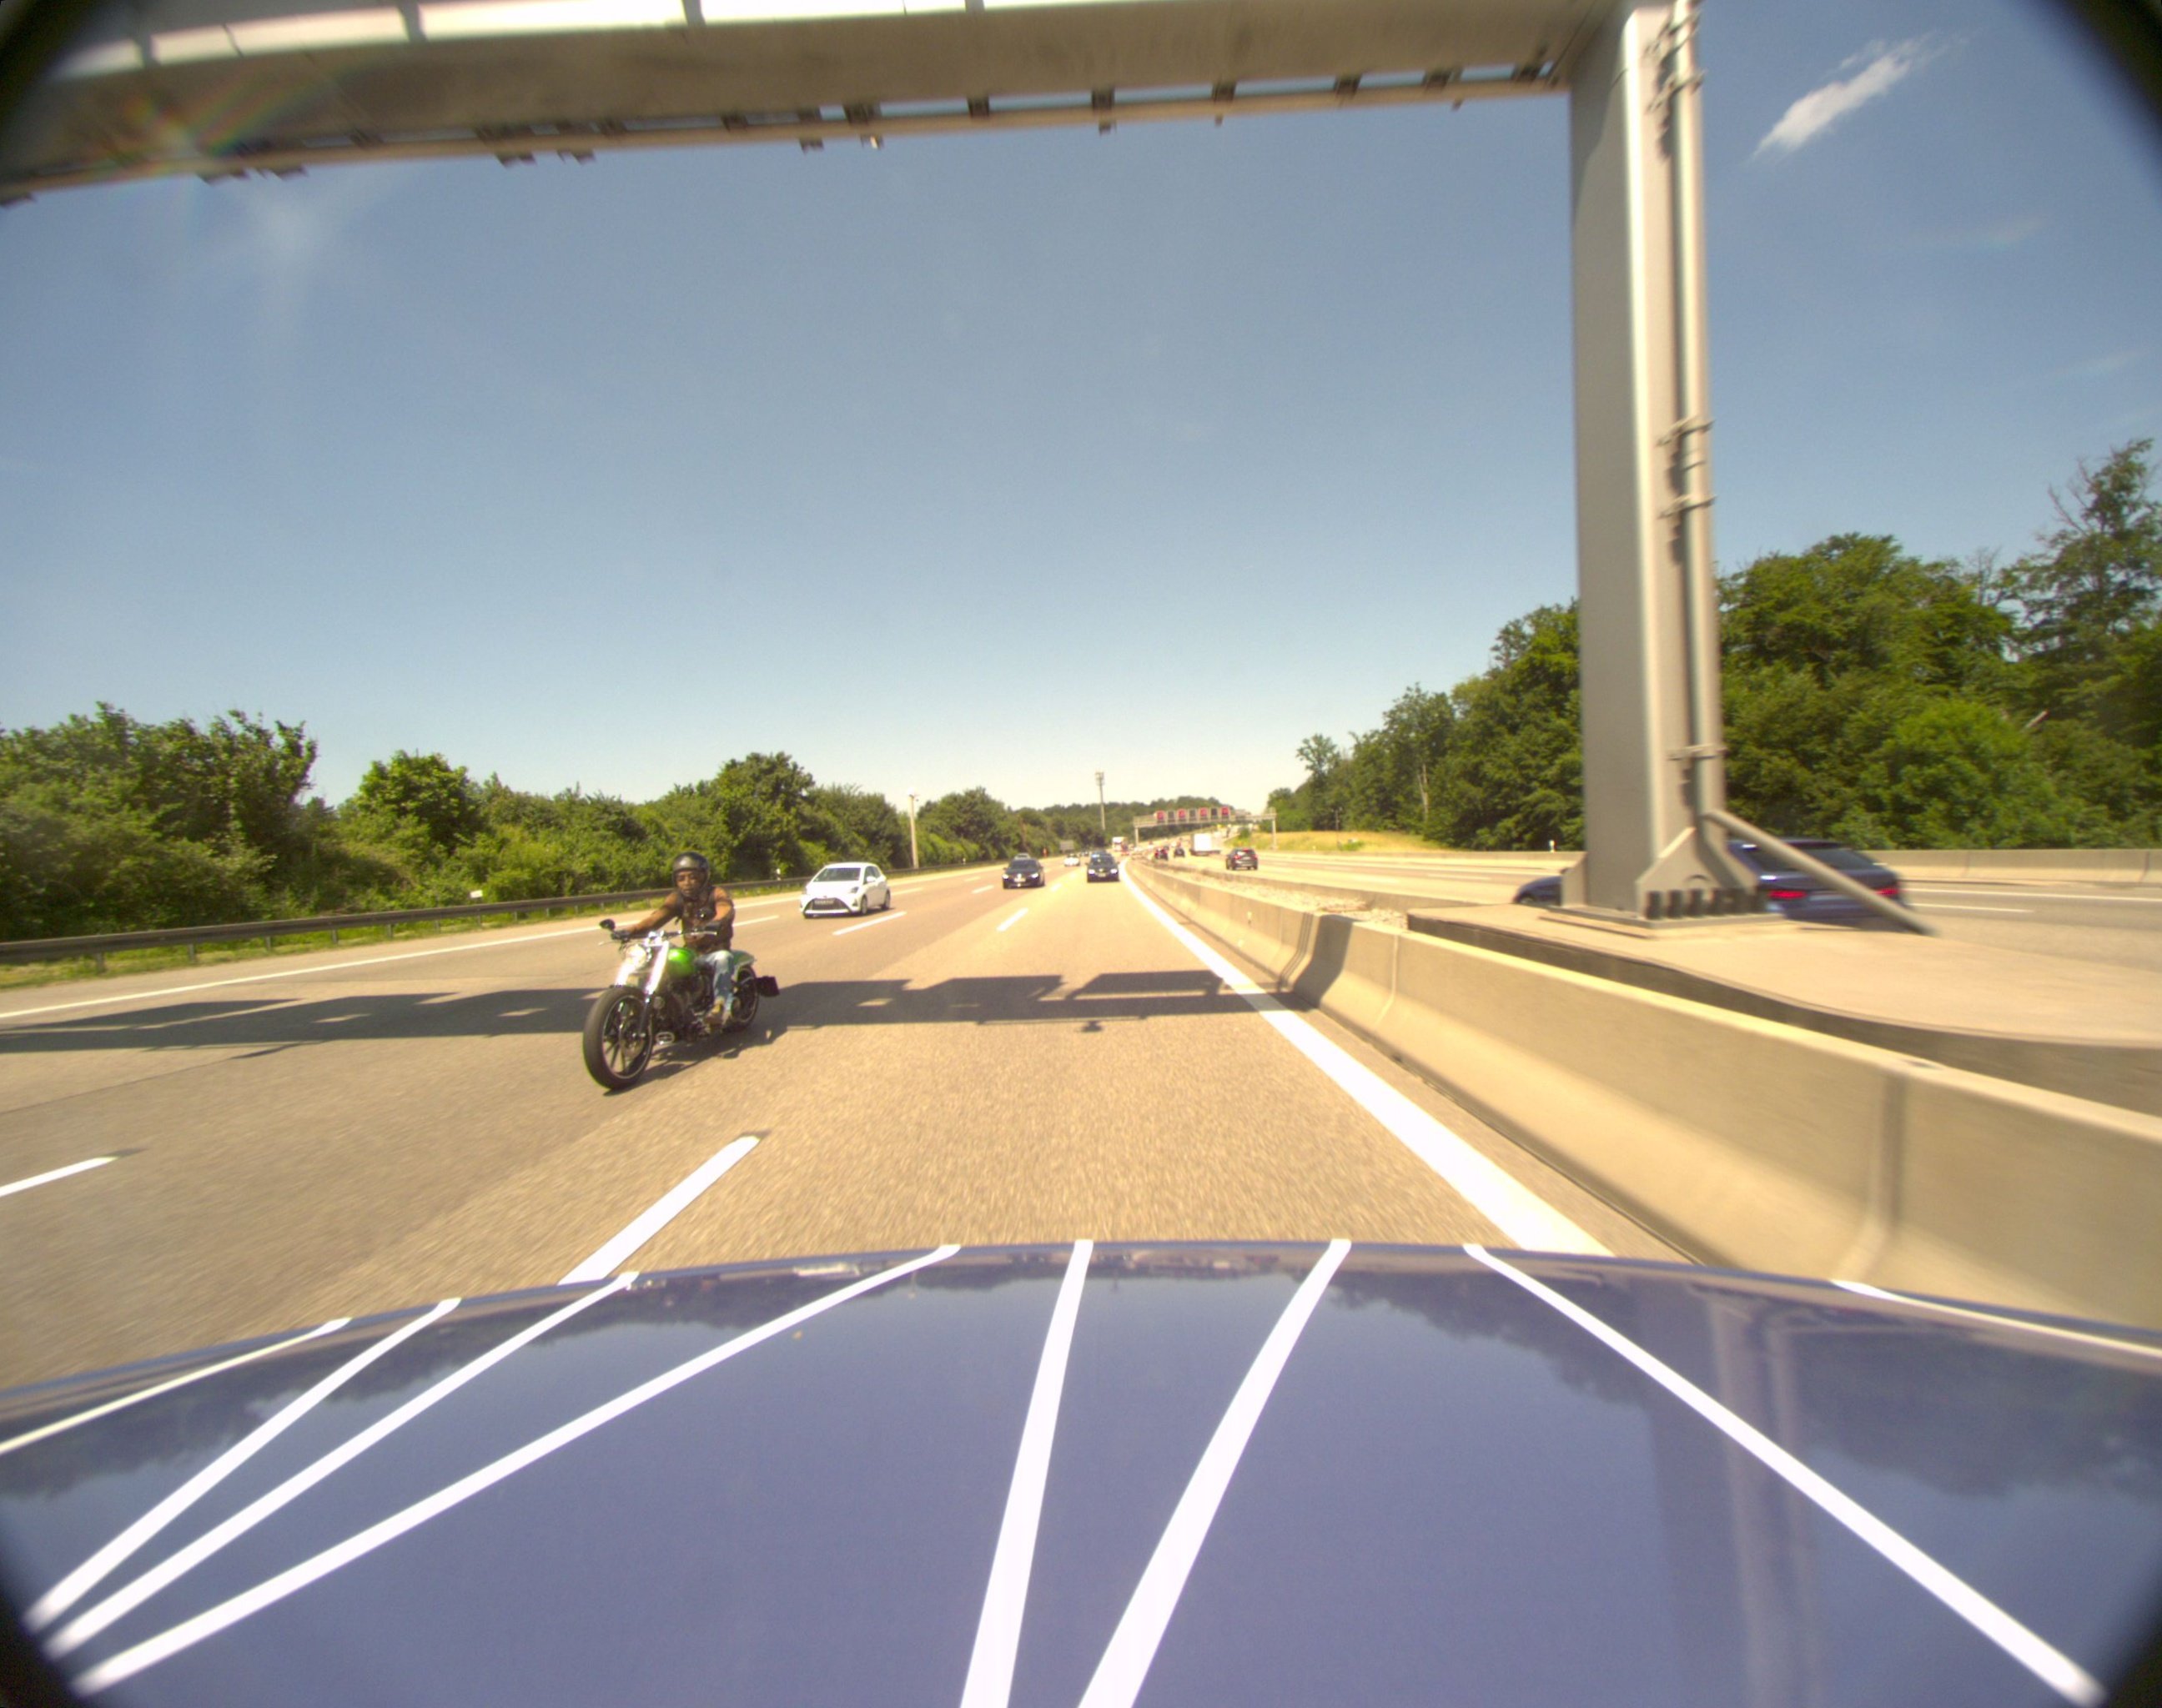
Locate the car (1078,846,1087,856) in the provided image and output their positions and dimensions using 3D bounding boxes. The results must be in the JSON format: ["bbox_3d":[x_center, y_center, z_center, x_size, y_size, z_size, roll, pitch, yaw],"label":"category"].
[{"bbox_3d":[0.347,-0.789,170.155,1.998,2.002,3.999,-3,2,1],"label":"car"}]

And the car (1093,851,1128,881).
[{"bbox_3d":[1.657,0.656,41.959,1.769,1.495,4.001,-3,0,3],"label":"car"}]

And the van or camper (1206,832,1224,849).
[{"bbox_3d":[27.230,-2.784,154.798,2.770,3.108,8.094,-3,2,4],"label":"van or camper"}]

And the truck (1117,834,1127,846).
[{"bbox_3d":[12.287,-4.265,227.414,2.435,3.458,7.019,-3,2,0],"label":"truck"}]

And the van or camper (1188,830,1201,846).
[{"bbox_3d":[29.006,-4.156,195.015,2.835,3.818,8.215,-3,2,6],"label":"van or camper"}]

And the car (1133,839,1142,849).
[{"bbox_3d":[15.516,-2.768,209.068,2.233,2.372,4.162,-3,2,4],"label":"car"}]

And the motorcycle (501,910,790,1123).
[{"bbox_3d":[-3.209,1.110,5.987,0.536,1.129,2.438,-1,1,9],"label":"motorcycle"}]

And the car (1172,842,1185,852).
[{"bbox_3d":[16.204,-1.163,126.229,1.765,1.512,4.361,-3,2,2],"label":"car"}]

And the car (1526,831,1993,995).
[{"bbox_3d":[7.797,0.540,9.505,1.858,1.509,4.521,-2,1,1],"label":"car"}]

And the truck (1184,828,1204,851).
[{"bbox_3d":[21.477,-2.776,144.178,2.883,4.265,6.452,-2,1,1],"label":"truck"}]

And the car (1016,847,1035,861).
[{"bbox_3d":[-7.140,-0.019,98.323,1.998,1.521,3.999,-2,2,2],"label":"car"}]

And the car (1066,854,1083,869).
[{"bbox_3d":[-0.747,0.863,90.265,1.729,1.521,3.741,-4,1,1],"label":"car"}]

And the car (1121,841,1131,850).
[{"bbox_3d":[9.869,-1.840,167.427,1.998,2.002,4.001,-3,0,3],"label":"car"}]

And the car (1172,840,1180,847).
[{"bbox_3d":[24.916,-2.784,199.603,1.744,1.752,5.120,-2,0,5],"label":"car"}]

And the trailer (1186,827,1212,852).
[{"bbox_3d":[21.333,-2.594,137.876,2.871,4.238,13.959,-2,1,2],"label":"trailer"}]

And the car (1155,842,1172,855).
[{"bbox_3d":[11.338,-0.713,104.761,1.998,1.658,4.434,-2,1,2],"label":"car"}]

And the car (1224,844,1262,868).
[{"bbox_3d":[11.805,0.129,55.595,1.759,1.625,4.638,-2,0,0],"label":"car"}]

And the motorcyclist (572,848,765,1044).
[{"bbox_3d":[-3.236,0.676,6.067,0.854,1.419,1.024,-1,1,8],"label":"motorcyclist"}]

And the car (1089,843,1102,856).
[{"bbox_3d":[2.362,-0.743,125.122,1.998,2.002,3.999,-3,2,3],"label":"car"}]

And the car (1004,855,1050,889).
[{"bbox_3d":[-2.637,0.837,37.739,1.760,1.431,3.999,-2,2,3],"label":"car"}]

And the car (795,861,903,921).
[{"bbox_3d":[-6.783,1.024,22.769,1.754,1.510,4.484,-2,0,1],"label":"car"}]

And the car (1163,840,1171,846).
[{"bbox_3d":[24.503,-3.151,216.068,1.998,1.581,4.845,-2,1,6],"label":"car"}]

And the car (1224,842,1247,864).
[{"bbox_3d":[16.480,-0.132,81.176,1.998,2.002,4.000,-3,2,6],"label":"car"}]

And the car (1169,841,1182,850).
[{"bbox_3d":[19.629,-1.790,158.270,2.292,1.718,5.031,-2,1,3],"label":"car"}]
